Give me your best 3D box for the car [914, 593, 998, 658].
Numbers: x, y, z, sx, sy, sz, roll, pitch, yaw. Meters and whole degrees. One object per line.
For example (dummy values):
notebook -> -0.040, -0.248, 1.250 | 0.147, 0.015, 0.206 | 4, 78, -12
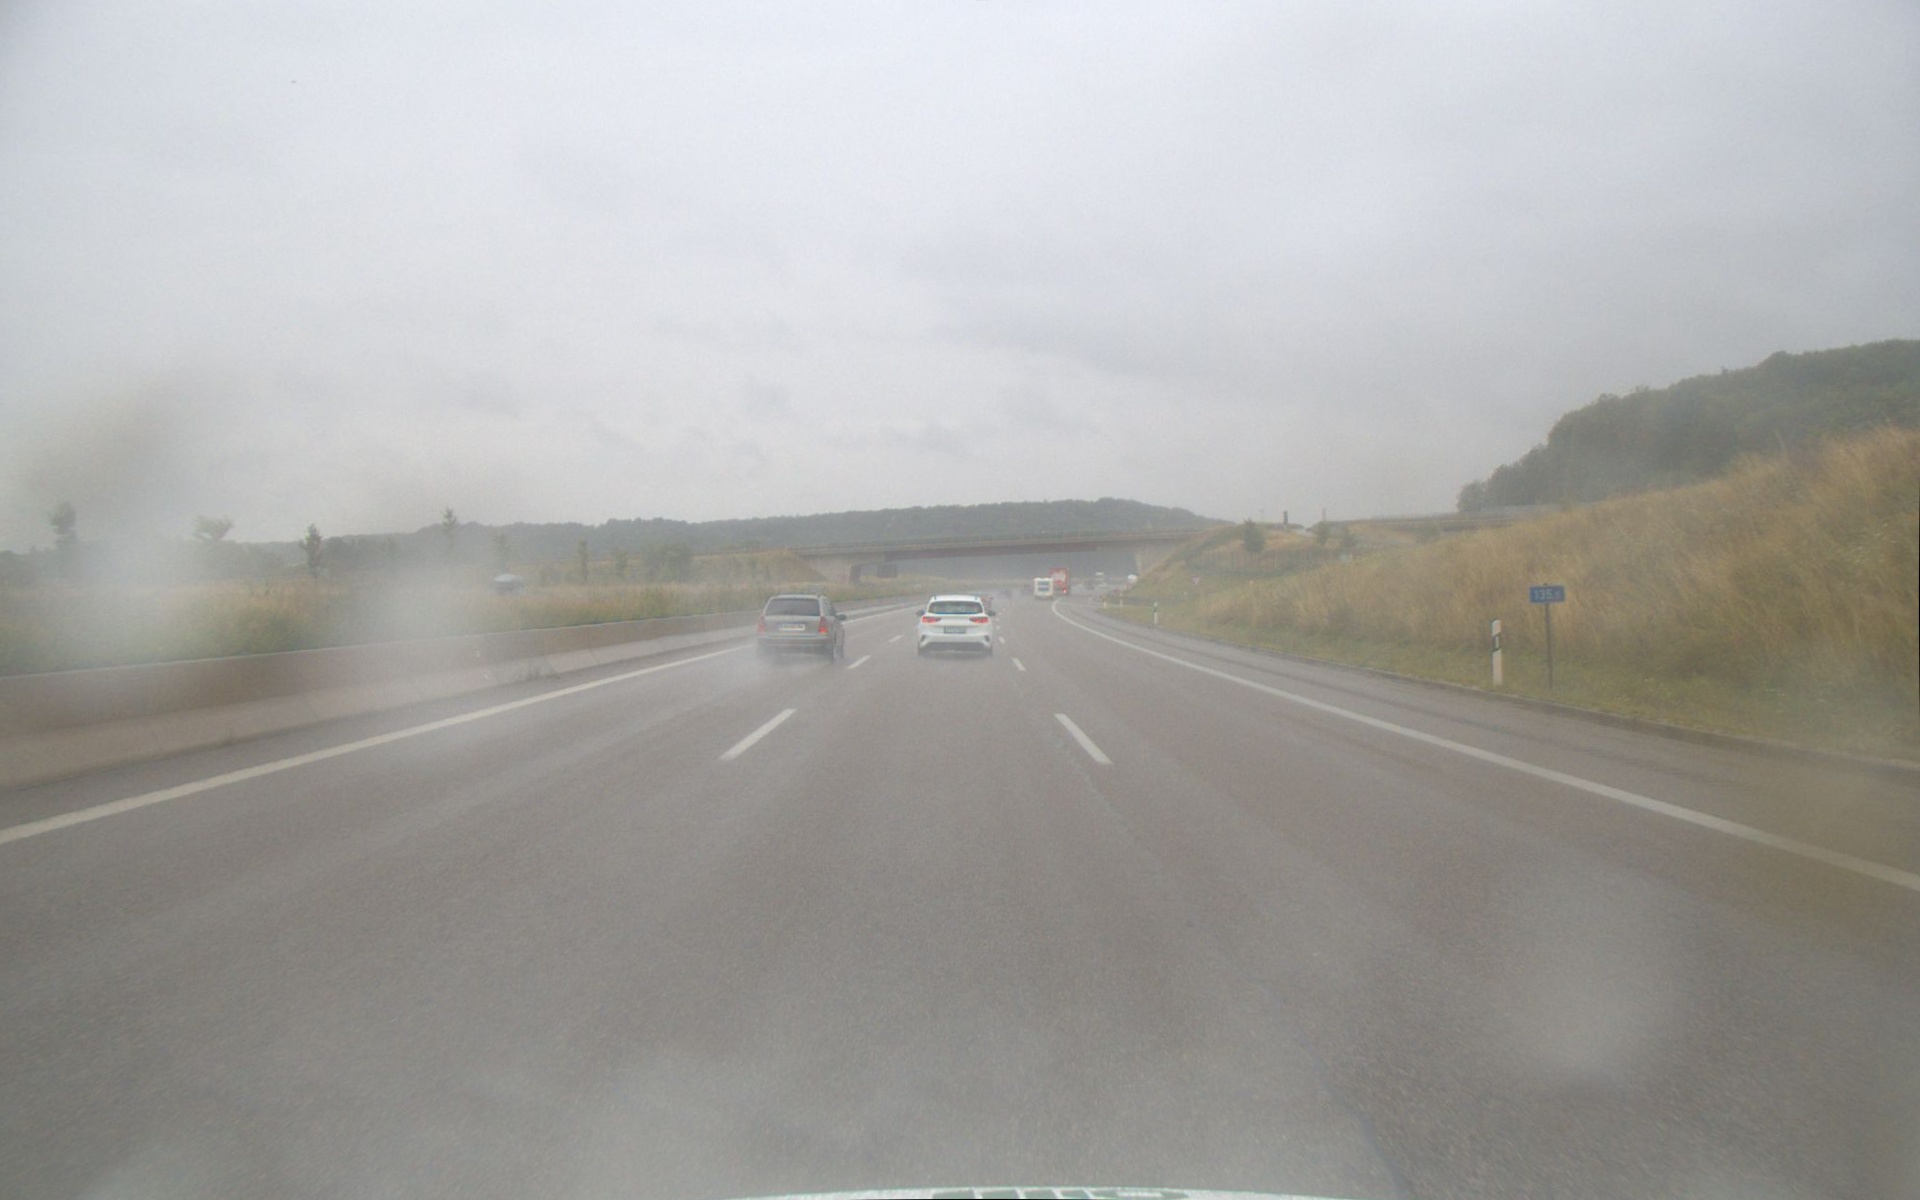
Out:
car -> -0.152, 0.589, 39.849 | 1.830, 1.488, 3.998 | 0, 0, -3

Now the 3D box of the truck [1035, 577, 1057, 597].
truck -> 10.229, -1.520, 196.203 | 2.356, 2.291, 4.696 | 0, 1, 7

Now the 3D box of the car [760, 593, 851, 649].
car -> -3.416, 0.457, 37.177 | 1.787, 1.176, 4.211 | 1, 0, -2

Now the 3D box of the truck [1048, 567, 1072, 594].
truck -> 15.126, -2.977, 251.388 | 3.453, 3.808, 11.432 | 1, 2, 3

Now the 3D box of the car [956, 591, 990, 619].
car -> 0.805, 0.274, 100.536 | 1.952, 1.646, 4.001 | 0, 1, 2
